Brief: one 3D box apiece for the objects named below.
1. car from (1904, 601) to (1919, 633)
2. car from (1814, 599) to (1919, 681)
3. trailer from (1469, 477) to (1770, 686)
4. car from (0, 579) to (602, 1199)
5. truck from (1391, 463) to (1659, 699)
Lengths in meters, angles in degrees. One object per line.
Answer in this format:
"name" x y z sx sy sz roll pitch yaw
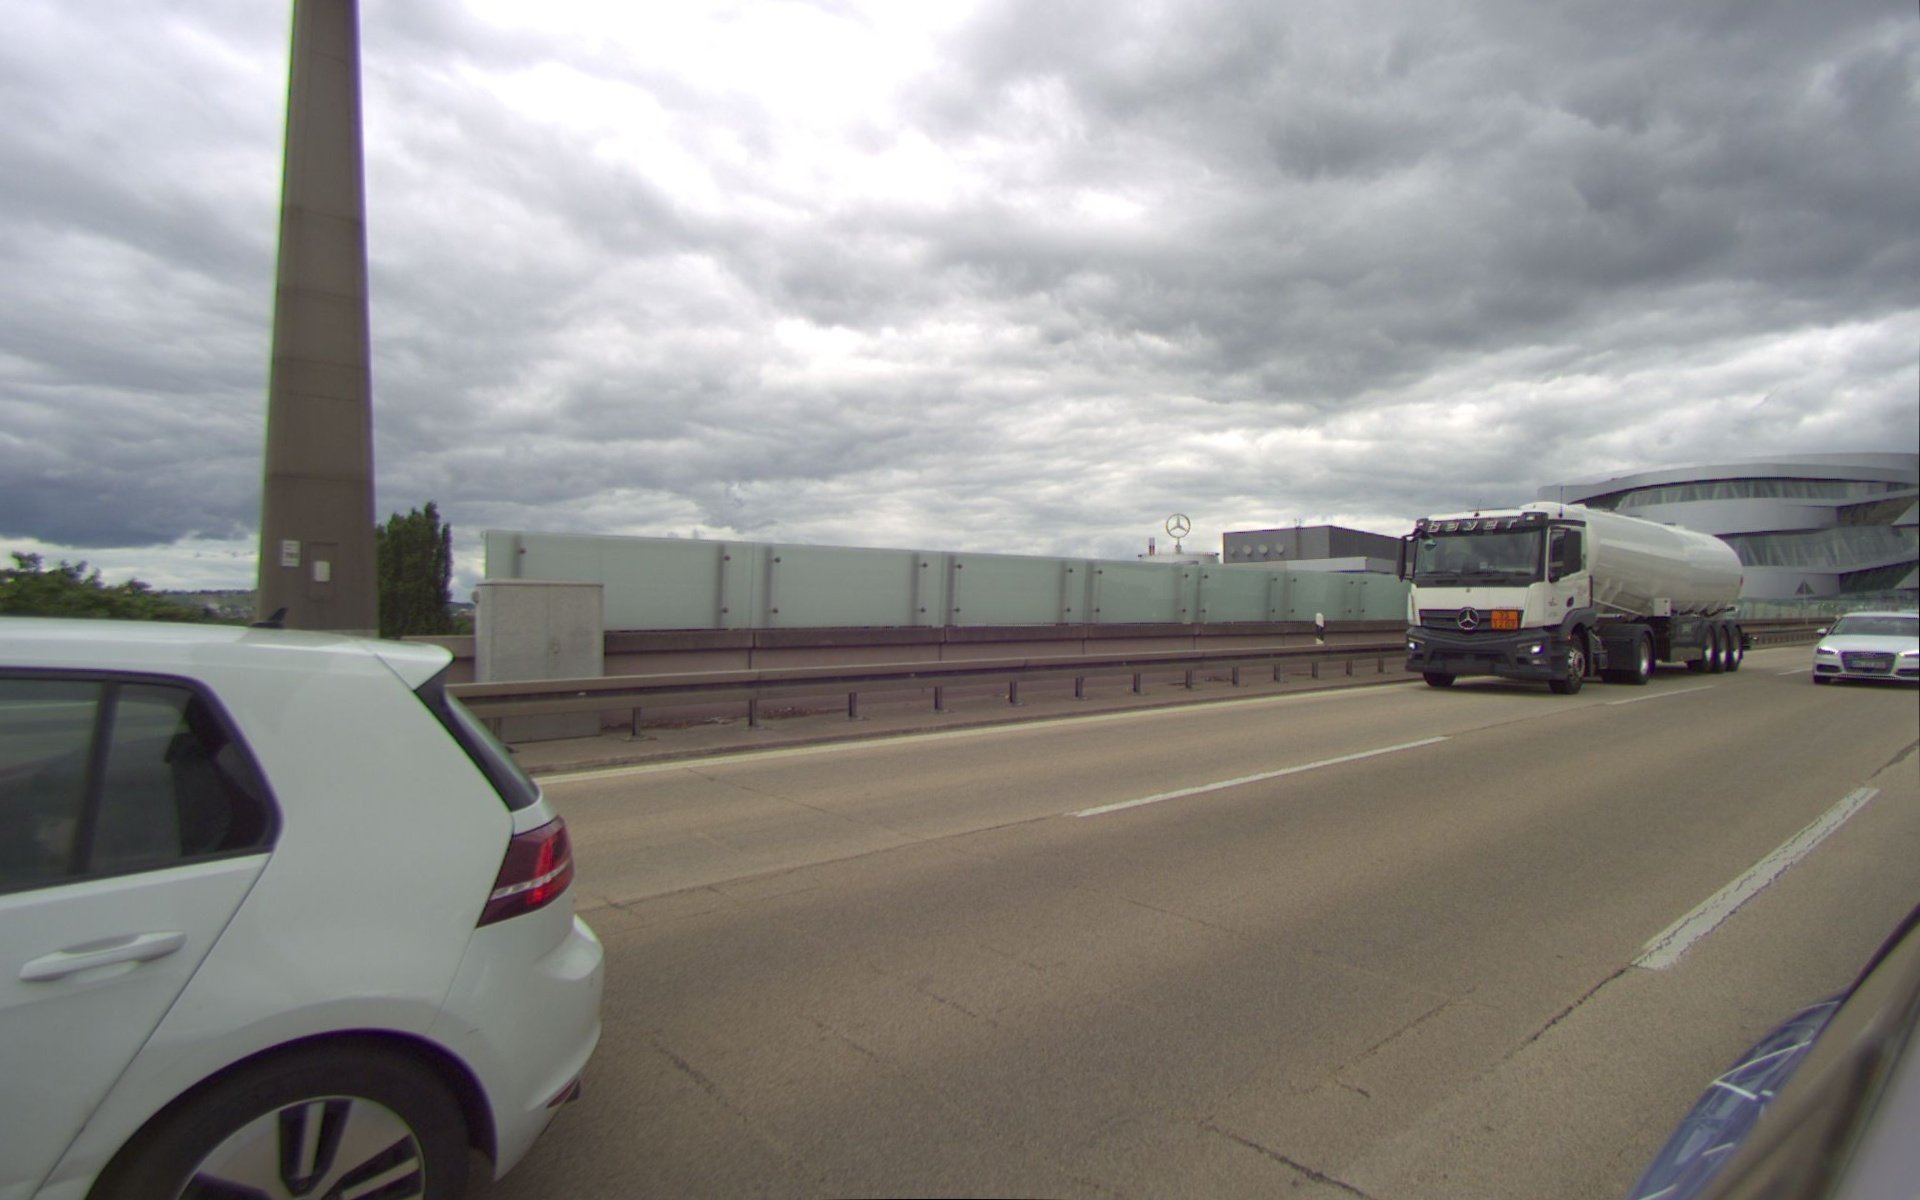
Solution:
"car" 51.811 0.891 53.940 3.564 1.654 1.784 0 0 -41
"car" 18.507 0.739 19.977 3.861 1.470 1.848 1 0 -39
"trailer" 14.751 -0.340 22.041 11.025 3.588 2.654 0 0 -41
"car" -2.849 0.687 1.511 4.002 1.470 1.757 0 1 -42
"truck" 10.052 -0.207 17.874 4.818 3.560 2.634 2 -3 -41
